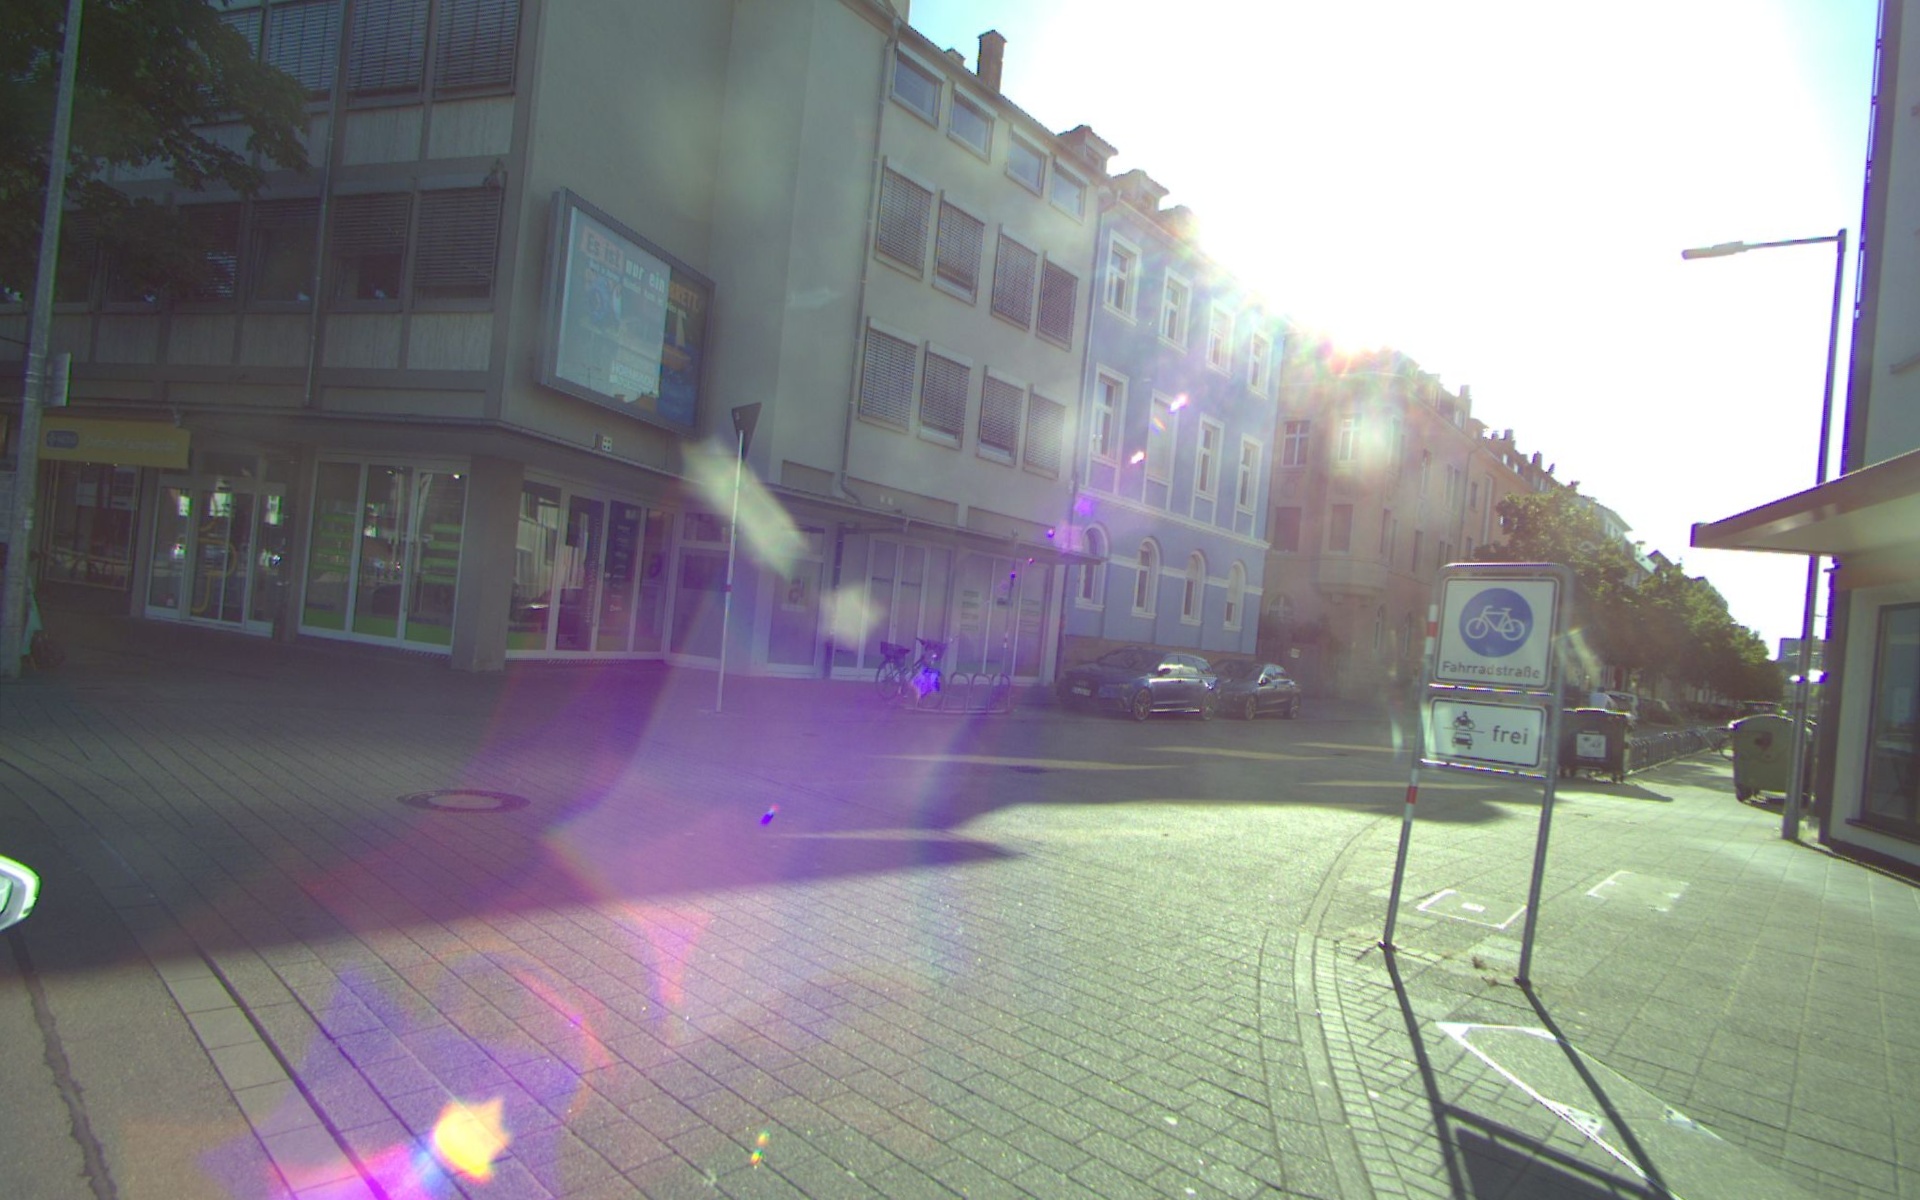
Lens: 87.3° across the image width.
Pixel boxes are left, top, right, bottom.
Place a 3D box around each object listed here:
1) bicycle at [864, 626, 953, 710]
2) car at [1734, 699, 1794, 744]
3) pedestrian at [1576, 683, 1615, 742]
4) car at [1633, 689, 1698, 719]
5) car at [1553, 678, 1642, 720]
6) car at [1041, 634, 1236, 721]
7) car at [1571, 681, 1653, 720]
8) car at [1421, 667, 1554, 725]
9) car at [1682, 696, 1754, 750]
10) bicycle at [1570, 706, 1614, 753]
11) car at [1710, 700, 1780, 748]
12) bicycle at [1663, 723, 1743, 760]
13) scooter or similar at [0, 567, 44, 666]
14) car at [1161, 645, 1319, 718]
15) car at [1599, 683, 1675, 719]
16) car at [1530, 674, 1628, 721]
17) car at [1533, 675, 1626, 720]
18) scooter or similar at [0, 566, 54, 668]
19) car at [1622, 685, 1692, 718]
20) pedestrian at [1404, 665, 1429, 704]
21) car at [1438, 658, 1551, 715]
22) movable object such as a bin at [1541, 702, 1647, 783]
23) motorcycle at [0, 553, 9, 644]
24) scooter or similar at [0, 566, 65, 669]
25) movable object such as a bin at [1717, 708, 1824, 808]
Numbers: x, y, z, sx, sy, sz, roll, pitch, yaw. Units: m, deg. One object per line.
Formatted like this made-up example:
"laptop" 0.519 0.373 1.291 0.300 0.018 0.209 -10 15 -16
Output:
"bicycle" -0.877 1.135 16.992 1.481 1.175 0.440 9 2 42
"car" 41.809 6.304 52.277 1.857 1.921 4.289 9 1 44
"pedestrian" 16.600 2.927 26.271 0.557 1.438 0.670 10 2 44
"car" 57.918 8.549 82.619 4.051 1.746 1.873 9 1 42
"car" 38.012 5.910 60.021 4.051 1.746 1.873 9 1 42
"car" 4.021 1.756 22.072 1.855 1.450 4.805 9 1 41
"car" 42.098 6.469 64.988 4.051 1.746 1.873 9 1 42
"car" 21.437 3.872 41.015 4.231 1.568 1.882 9 1 7
"car" 30.564 4.931 40.531 1.855 1.746 4.090 9 1 41
"bicycle" 16.491 3.377 26.237 0.551 1.100 1.537 10 2 44
"car" 35.584 5.615 45.562 1.857 1.746 4.289 9 1 44
"bicycle" 21.294 4.036 28.855 1.784 0.842 0.437 2 -3 44
"scooter or similar" -10.258 0.160 10.518 0.157 1.039 0.966 6 0 24
"car" 7.284 2.140 25.851 1.855 1.450 4.805 9 1 41
"car" 47.232 7.026 70.200 4.051 1.746 1.873 9 1 42
"car" 33.170 5.222 53.970 4.051 1.746 1.873 9 1 42
"car" 34.893 5.480 56.704 4.051 1.746 1.873 9 1 42
"scooter or similar" -10.077 0.174 10.443 0.157 1.052 0.959 6 0 24
"car" 53.214 7.768 76.837 4.051 1.746 1.873 9 1 42
"pedestrian" 20.181 3.741 44.460 0.742 1.635 0.800 5 -1 34
"car" 24.483 3.958 46.168 4.116 1.825 1.875 9 1 39
"movable object such as a bin" 12.161 2.698 19.282 1.399 1.304 1.642 4 -2 42
"motorcycle" -11.987 -0.061 11.299 0.495 1.143 1.793 5 -2 20
"scooter or similar" -9.898 0.180 10.366 0.157 1.056 0.966 6 0 24
"movable object such as a bin" 13.659 2.624 16.944 1.265 1.457 1.214 5 -1 42
